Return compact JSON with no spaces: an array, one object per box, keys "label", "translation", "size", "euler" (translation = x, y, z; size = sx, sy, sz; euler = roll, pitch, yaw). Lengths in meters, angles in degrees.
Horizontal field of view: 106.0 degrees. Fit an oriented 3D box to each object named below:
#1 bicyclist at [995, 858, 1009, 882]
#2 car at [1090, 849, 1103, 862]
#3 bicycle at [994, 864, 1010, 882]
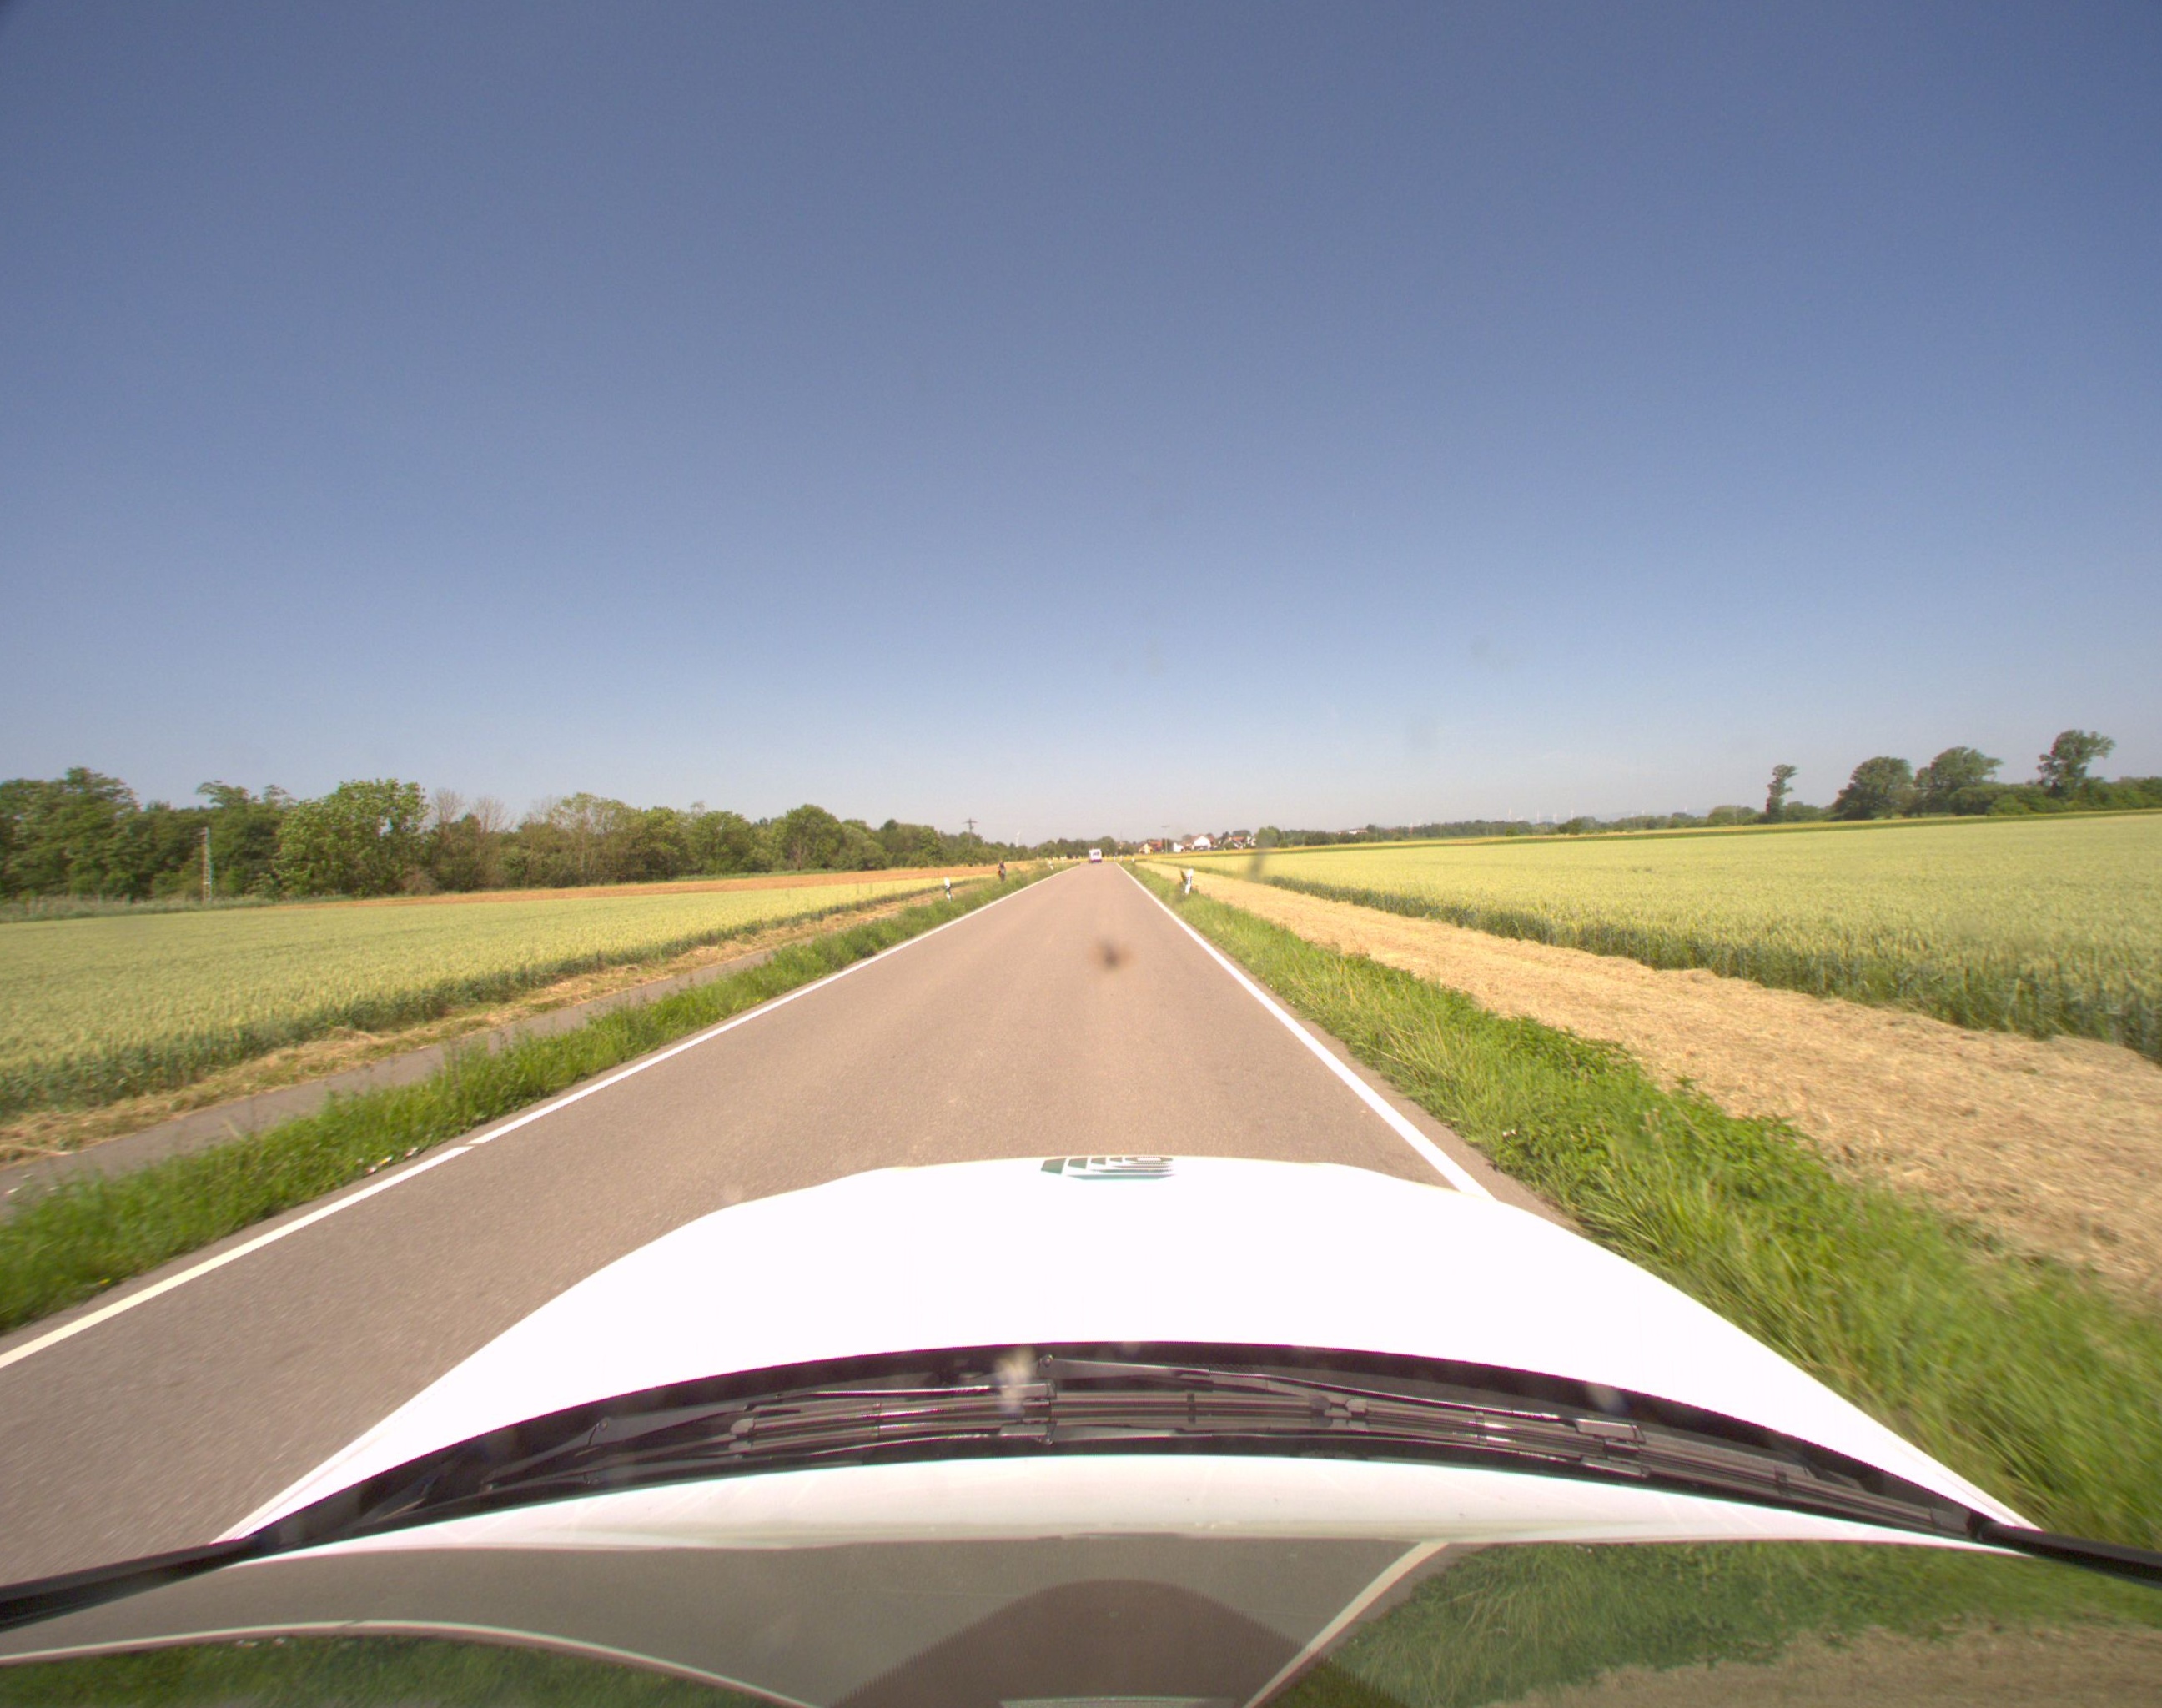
[{"label":"bicyclist","translation":[-5.654,1.127,58.482],"size":[0.757,1.672,1.089],"euler":[-4,-1,1]},{"label":"car","translation":[2.834,0.314,153.347],"size":[2.102,2.304,5.490],"euler":[-1,0,-3]},{"label":"bicycle","translation":[-5.649,1.348,58.610],"size":[0.756,1.236,2.395],"euler":[-4,0,2]}]
